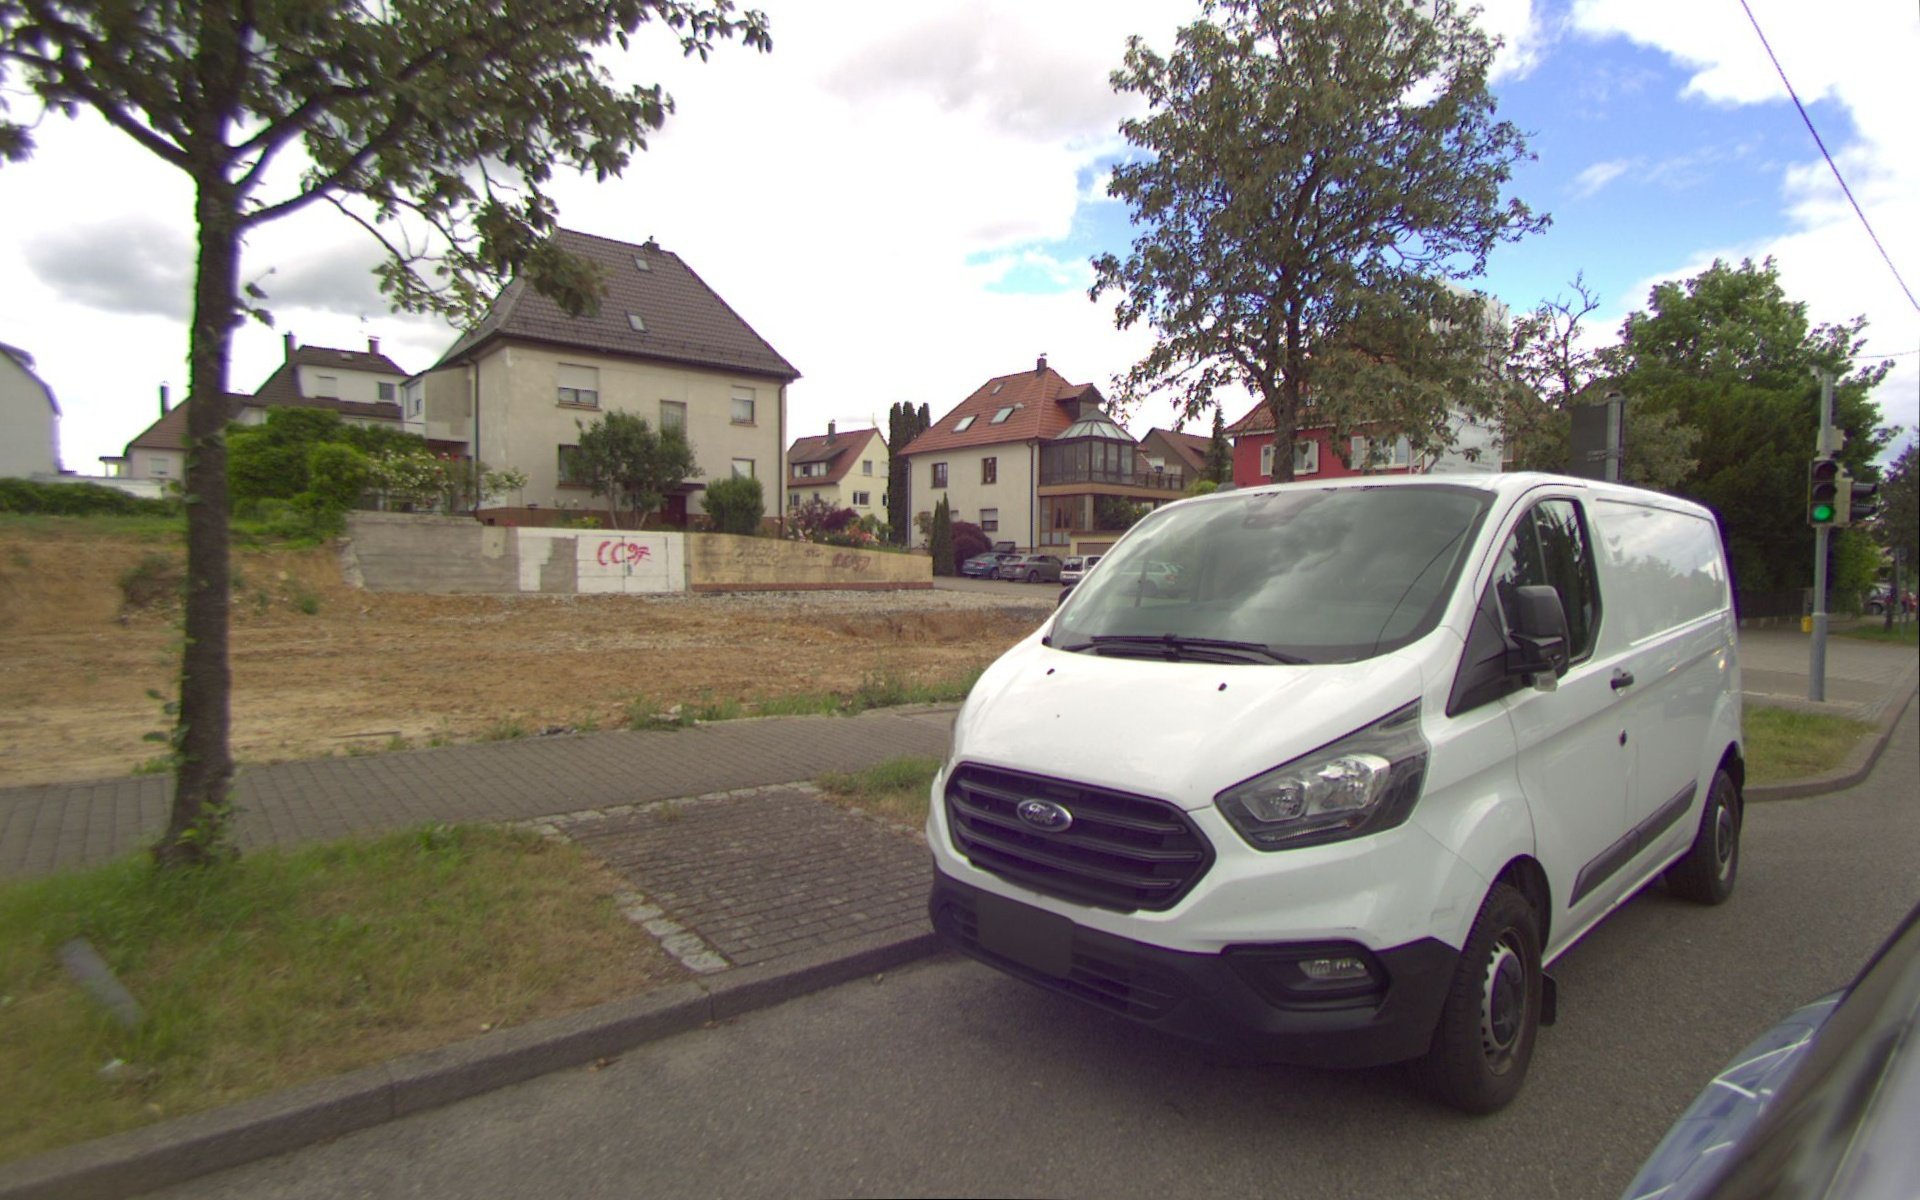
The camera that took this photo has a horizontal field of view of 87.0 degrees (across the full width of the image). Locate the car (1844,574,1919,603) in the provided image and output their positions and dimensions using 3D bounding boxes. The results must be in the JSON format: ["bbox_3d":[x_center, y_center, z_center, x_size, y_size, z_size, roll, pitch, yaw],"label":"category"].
[{"bbox_3d":[50.597,-0.659,55.318,3.352,1.477,1.722,3,3,43],"label":"car"}]

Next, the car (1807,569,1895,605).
[{"bbox_3d":[47.768,-0.701,54.304,1.554,1.653,3.357,0,5,-44],"label":"car"}]

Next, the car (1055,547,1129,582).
[{"bbox_3d":[6.189,-1.628,47.426,3.442,1.559,1.619,-1,1,-42],"label":"car"}]

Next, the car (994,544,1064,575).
[{"bbox_3d":[3.521,-2.038,51.112,3.442,1.485,1.619,-1,1,-42],"label":"car"}]

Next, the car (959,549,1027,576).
[{"bbox_3d":[1.758,-1.938,53.059,3.442,1.340,1.619,-1,1,-42],"label":"car"}]

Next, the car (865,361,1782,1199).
[{"bbox_3d":[2.005,0.429,4.446,4.706,1.968,1.778,-1,1,-42],"label":"car"}]
